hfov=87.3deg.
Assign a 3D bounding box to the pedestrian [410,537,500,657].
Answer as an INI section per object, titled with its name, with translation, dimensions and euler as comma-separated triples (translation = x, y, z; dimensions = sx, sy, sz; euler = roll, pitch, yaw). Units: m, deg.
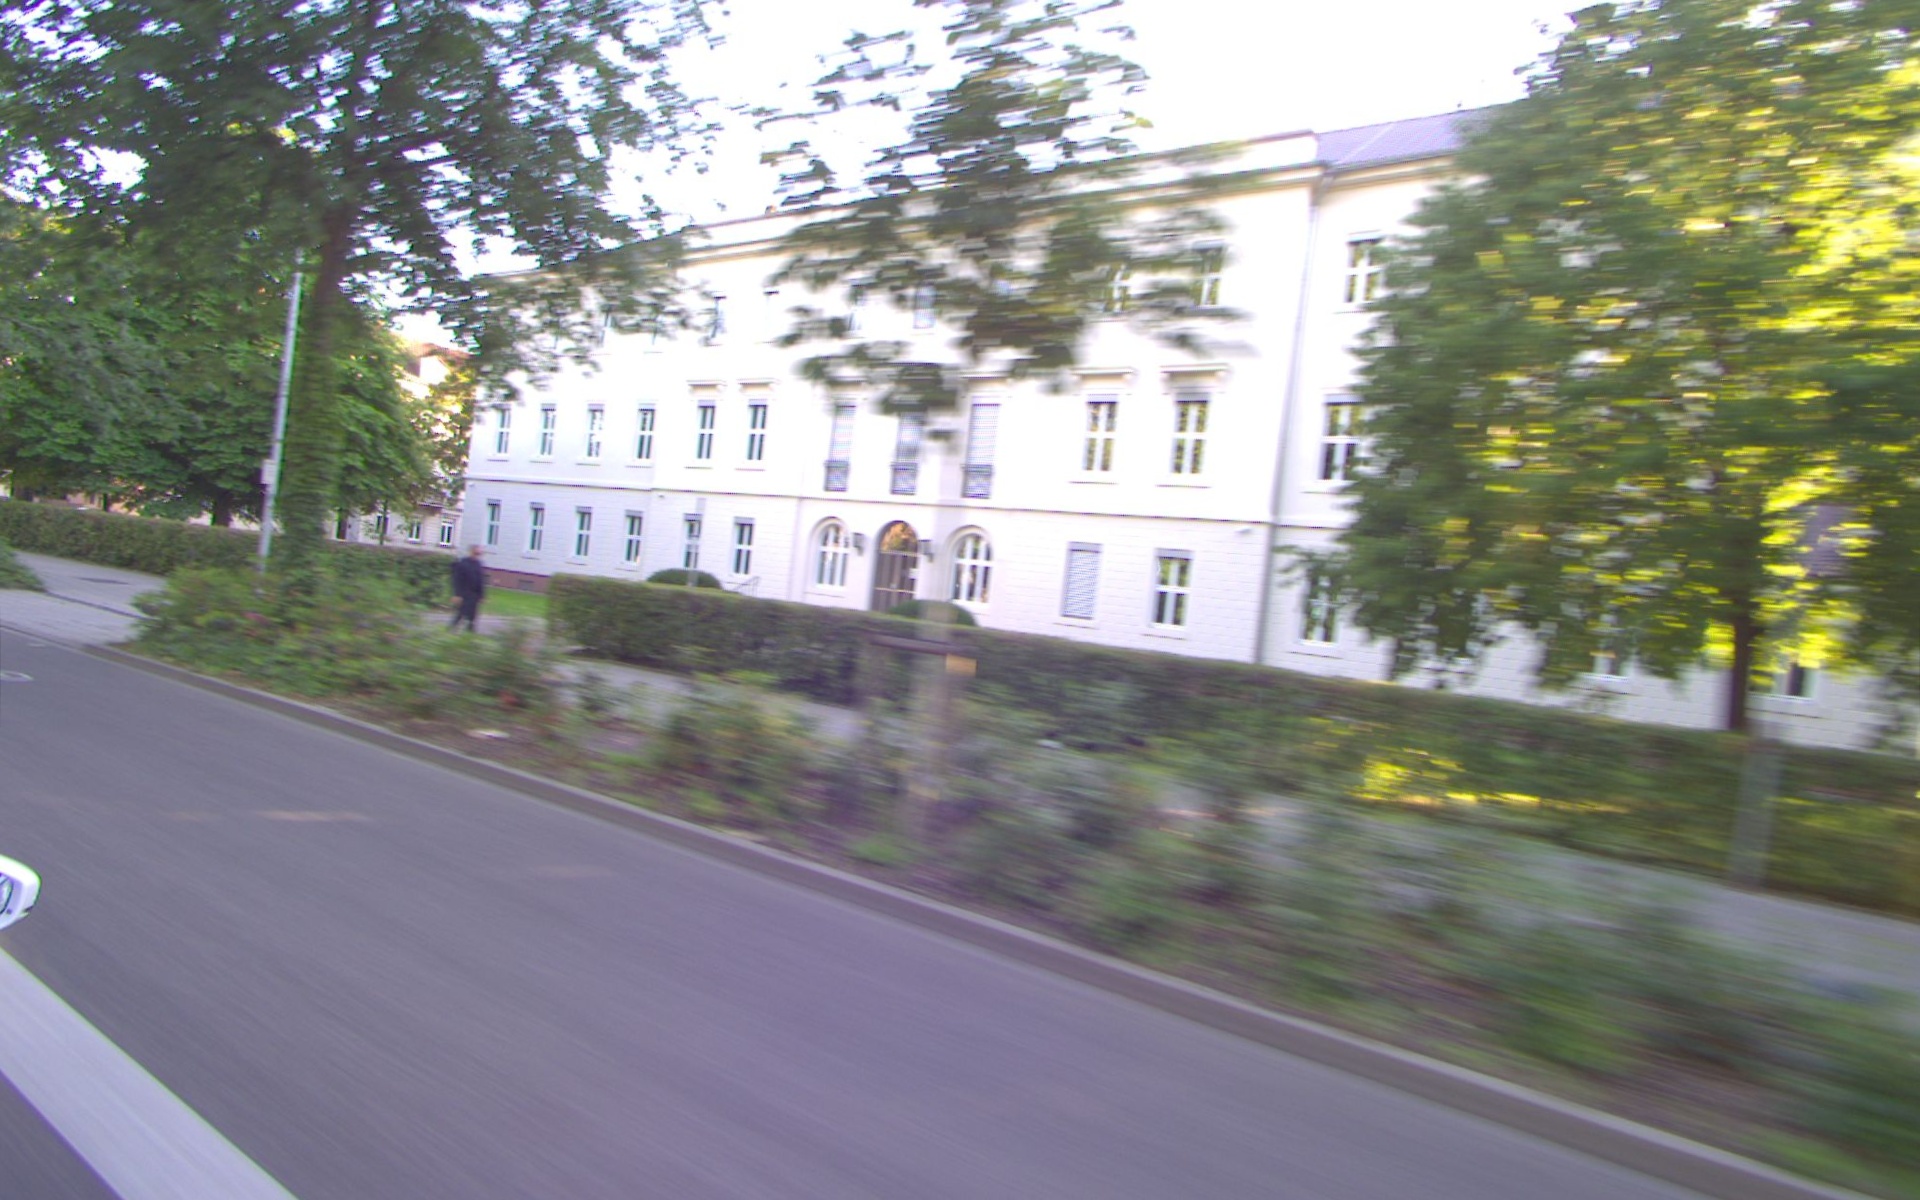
[pedestrian]
translation = -7.915, -0.036, 15.795
dimensions = 0.793, 1.760, 0.772
euler = 7, 0, 26
